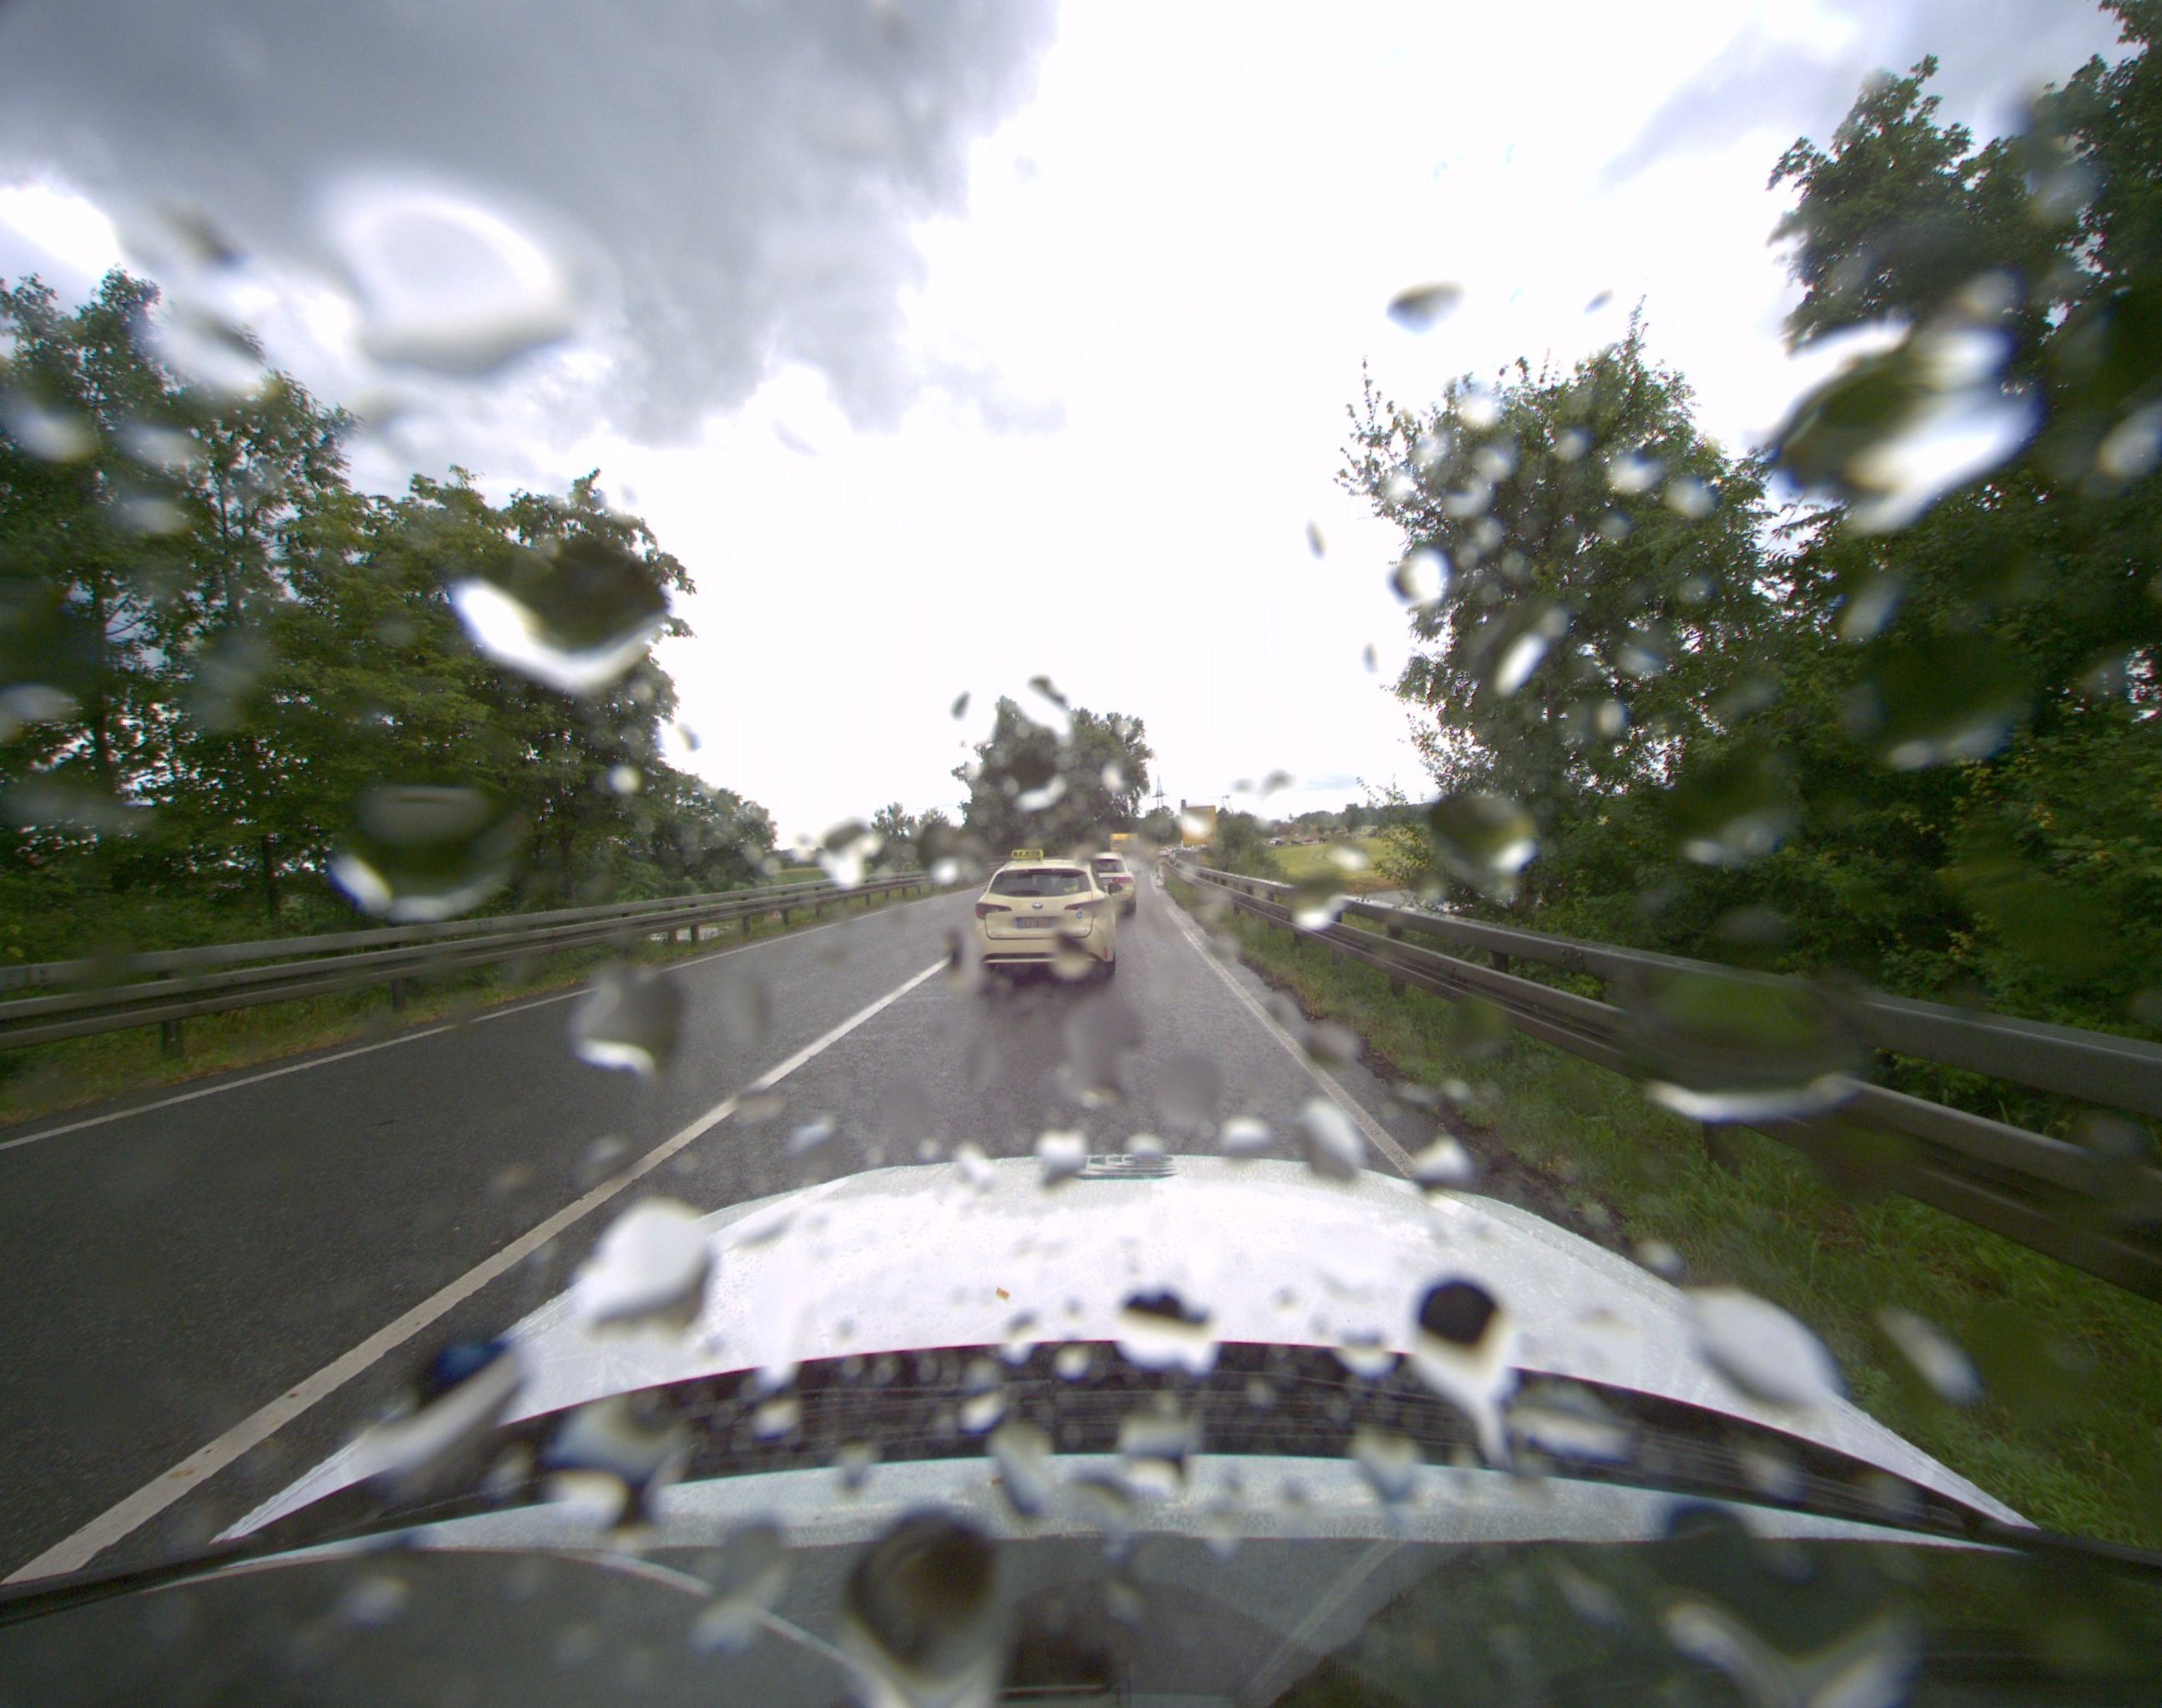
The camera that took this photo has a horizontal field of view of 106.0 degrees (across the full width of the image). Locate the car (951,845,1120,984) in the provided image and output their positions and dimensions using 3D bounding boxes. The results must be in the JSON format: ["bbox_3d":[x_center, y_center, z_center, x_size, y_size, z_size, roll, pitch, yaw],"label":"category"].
[{"bbox_3d":[-0.426,0.687,11.319,1.898,1.537,4.164,-1,0,2],"label":"car"}]

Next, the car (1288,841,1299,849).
[{"bbox_3d":[60.385,-2.549,231.233,1.974,2.014,4.025,-1,-1,33],"label":"car"}]

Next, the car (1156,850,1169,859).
[{"bbox_3d":[11.223,0.068,111.972,1.473,1.309,3.486,-1,0,10],"label":"car"}]

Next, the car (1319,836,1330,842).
[{"bbox_3d":[74.619,-4.591,249.482,2.120,2.014,4.025,-1,-1,37],"label":"car"}]

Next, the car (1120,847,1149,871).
[{"bbox_3d":[3.360,0.306,51.663,1.659,1.464,3.477,-1,0,1],"label":"car"}]

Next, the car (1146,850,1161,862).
[{"bbox_3d":[8.371,0.247,94.344,1.474,1.309,3.485,-1,0,9],"label":"car"}]

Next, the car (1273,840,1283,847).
[{"bbox_3d":[53.626,-2.782,221.529,1.801,1.838,4.013,-1,0,29],"label":"car"}]

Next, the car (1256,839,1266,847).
[{"bbox_3d":[45.706,-2.747,206.535,1.903,1.838,4.021,-1,0,22],"label":"car"}]

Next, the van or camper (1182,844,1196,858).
[{"bbox_3d":[18.439,-0.532,138.636,1.980,2.254,4.013,-1,0,11],"label":"van or camper"}]

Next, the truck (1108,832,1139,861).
[{"bbox_3d":[5.489,-1.096,103.327,2.754,3.428,9.215,1,2,10],"label":"truck"}]

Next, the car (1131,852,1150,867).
[{"bbox_3d":[5.748,0.520,78.657,1.652,1.409,3.910,-1,-1,6],"label":"car"}]

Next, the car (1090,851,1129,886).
[{"bbox_3d":[1.285,0.616,35.409,1.498,1.437,3.360,-1,0,5],"label":"car"}]

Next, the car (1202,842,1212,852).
[{"bbox_3d":[24.355,-1.289,157.689,1.720,1.819,4.013,-1,0,12],"label":"car"}]

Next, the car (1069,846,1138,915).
[{"bbox_3d":[0.660,0.623,20.741,1.571,1.572,3.685,-1,0,4],"label":"car"}]
